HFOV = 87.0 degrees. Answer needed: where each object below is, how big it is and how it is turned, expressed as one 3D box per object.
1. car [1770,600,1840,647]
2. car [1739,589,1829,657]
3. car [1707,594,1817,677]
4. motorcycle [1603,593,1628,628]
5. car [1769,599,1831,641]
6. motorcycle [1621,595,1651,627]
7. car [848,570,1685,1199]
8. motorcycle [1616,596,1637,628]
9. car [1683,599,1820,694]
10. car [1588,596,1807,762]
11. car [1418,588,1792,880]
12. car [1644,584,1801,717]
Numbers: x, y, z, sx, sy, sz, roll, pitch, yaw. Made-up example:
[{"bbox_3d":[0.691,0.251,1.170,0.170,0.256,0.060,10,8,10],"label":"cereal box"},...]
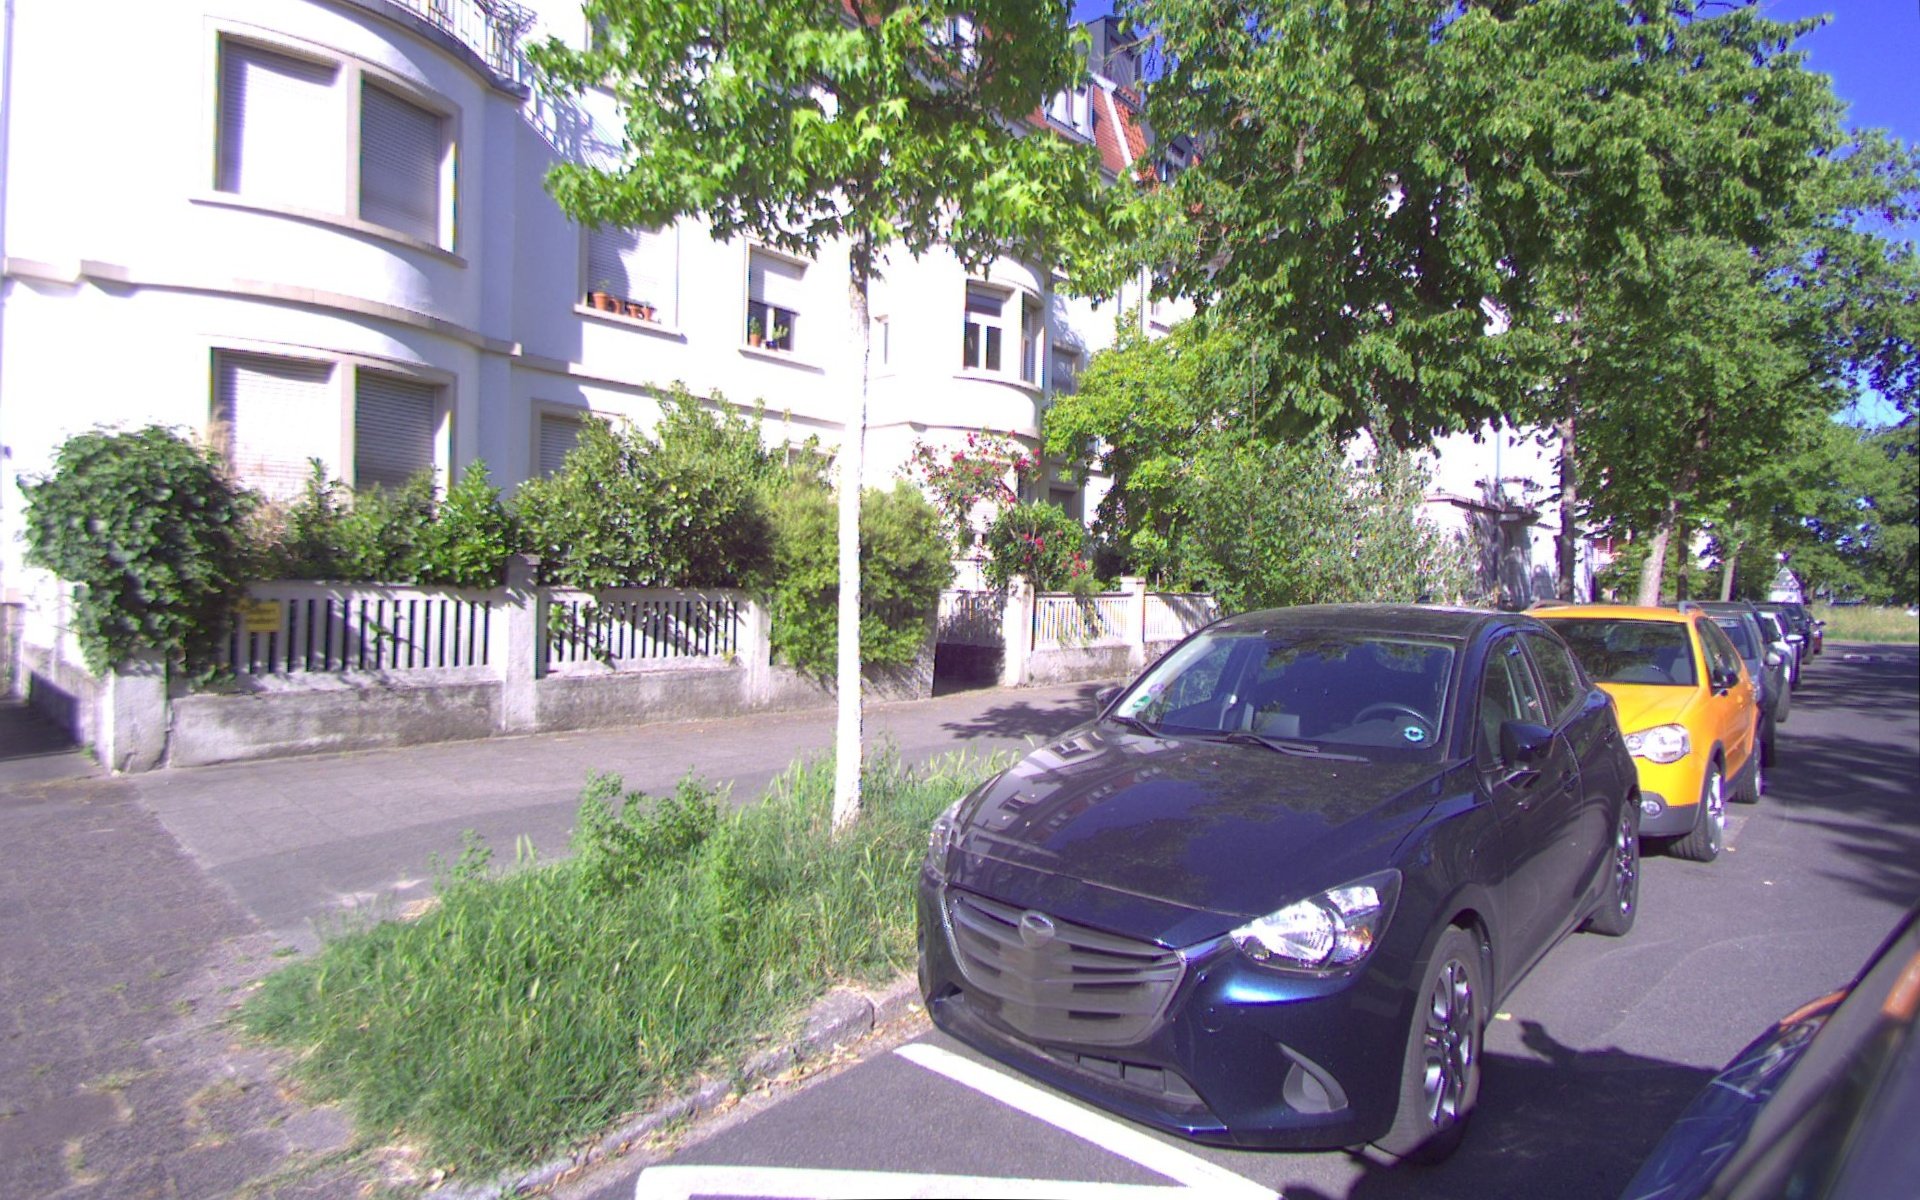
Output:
[{"bbox_3d":[28.107,0.737,33.767,1.608,1.427,4.291,2,1,38],"label":"car"},{"bbox_3d":[23.365,0.610,28.633,1.780,1.719,4.233,2,1,41],"label":"car"},{"bbox_3d":[17.332,0.700,21.790,1.682,1.608,4.469,-1,-1,40],"label":"car"},{"bbox_3d":[26.668,0.429,41.147,0.539,1.378,2.057,1,1,42],"label":"motorcycle"},{"bbox_3d":[31.123,0.716,37.468,1.651,1.419,4.074,2,1,41],"label":"car"},{"bbox_3d":[29.521,0.471,44.184,0.968,1.345,1.828,1,1,37],"label":"motorcycle"},{"bbox_3d":[1.626,0.677,4.143,1.700,1.467,4.019,3,2,42],"label":"car"},{"bbox_3d":[28.237,0.481,42.862,0.654,1.295,1.777,4,2,35],"label":"motorcycle"},{"bbox_3d":[14.408,0.748,18.329,1.629,1.442,4.301,3,2,42],"label":"car"},{"bbox_3d":[8.126,0.714,11.043,1.647,1.446,3.560,3,2,40],"label":"car"},{"bbox_3d":[4.829,0.696,7.302,1.636,1.473,4.037,2,1,42],"label":"car"},{"bbox_3d":[11.304,0.639,14.973,1.646,1.676,3.793,1,1,39],"label":"car"}]
